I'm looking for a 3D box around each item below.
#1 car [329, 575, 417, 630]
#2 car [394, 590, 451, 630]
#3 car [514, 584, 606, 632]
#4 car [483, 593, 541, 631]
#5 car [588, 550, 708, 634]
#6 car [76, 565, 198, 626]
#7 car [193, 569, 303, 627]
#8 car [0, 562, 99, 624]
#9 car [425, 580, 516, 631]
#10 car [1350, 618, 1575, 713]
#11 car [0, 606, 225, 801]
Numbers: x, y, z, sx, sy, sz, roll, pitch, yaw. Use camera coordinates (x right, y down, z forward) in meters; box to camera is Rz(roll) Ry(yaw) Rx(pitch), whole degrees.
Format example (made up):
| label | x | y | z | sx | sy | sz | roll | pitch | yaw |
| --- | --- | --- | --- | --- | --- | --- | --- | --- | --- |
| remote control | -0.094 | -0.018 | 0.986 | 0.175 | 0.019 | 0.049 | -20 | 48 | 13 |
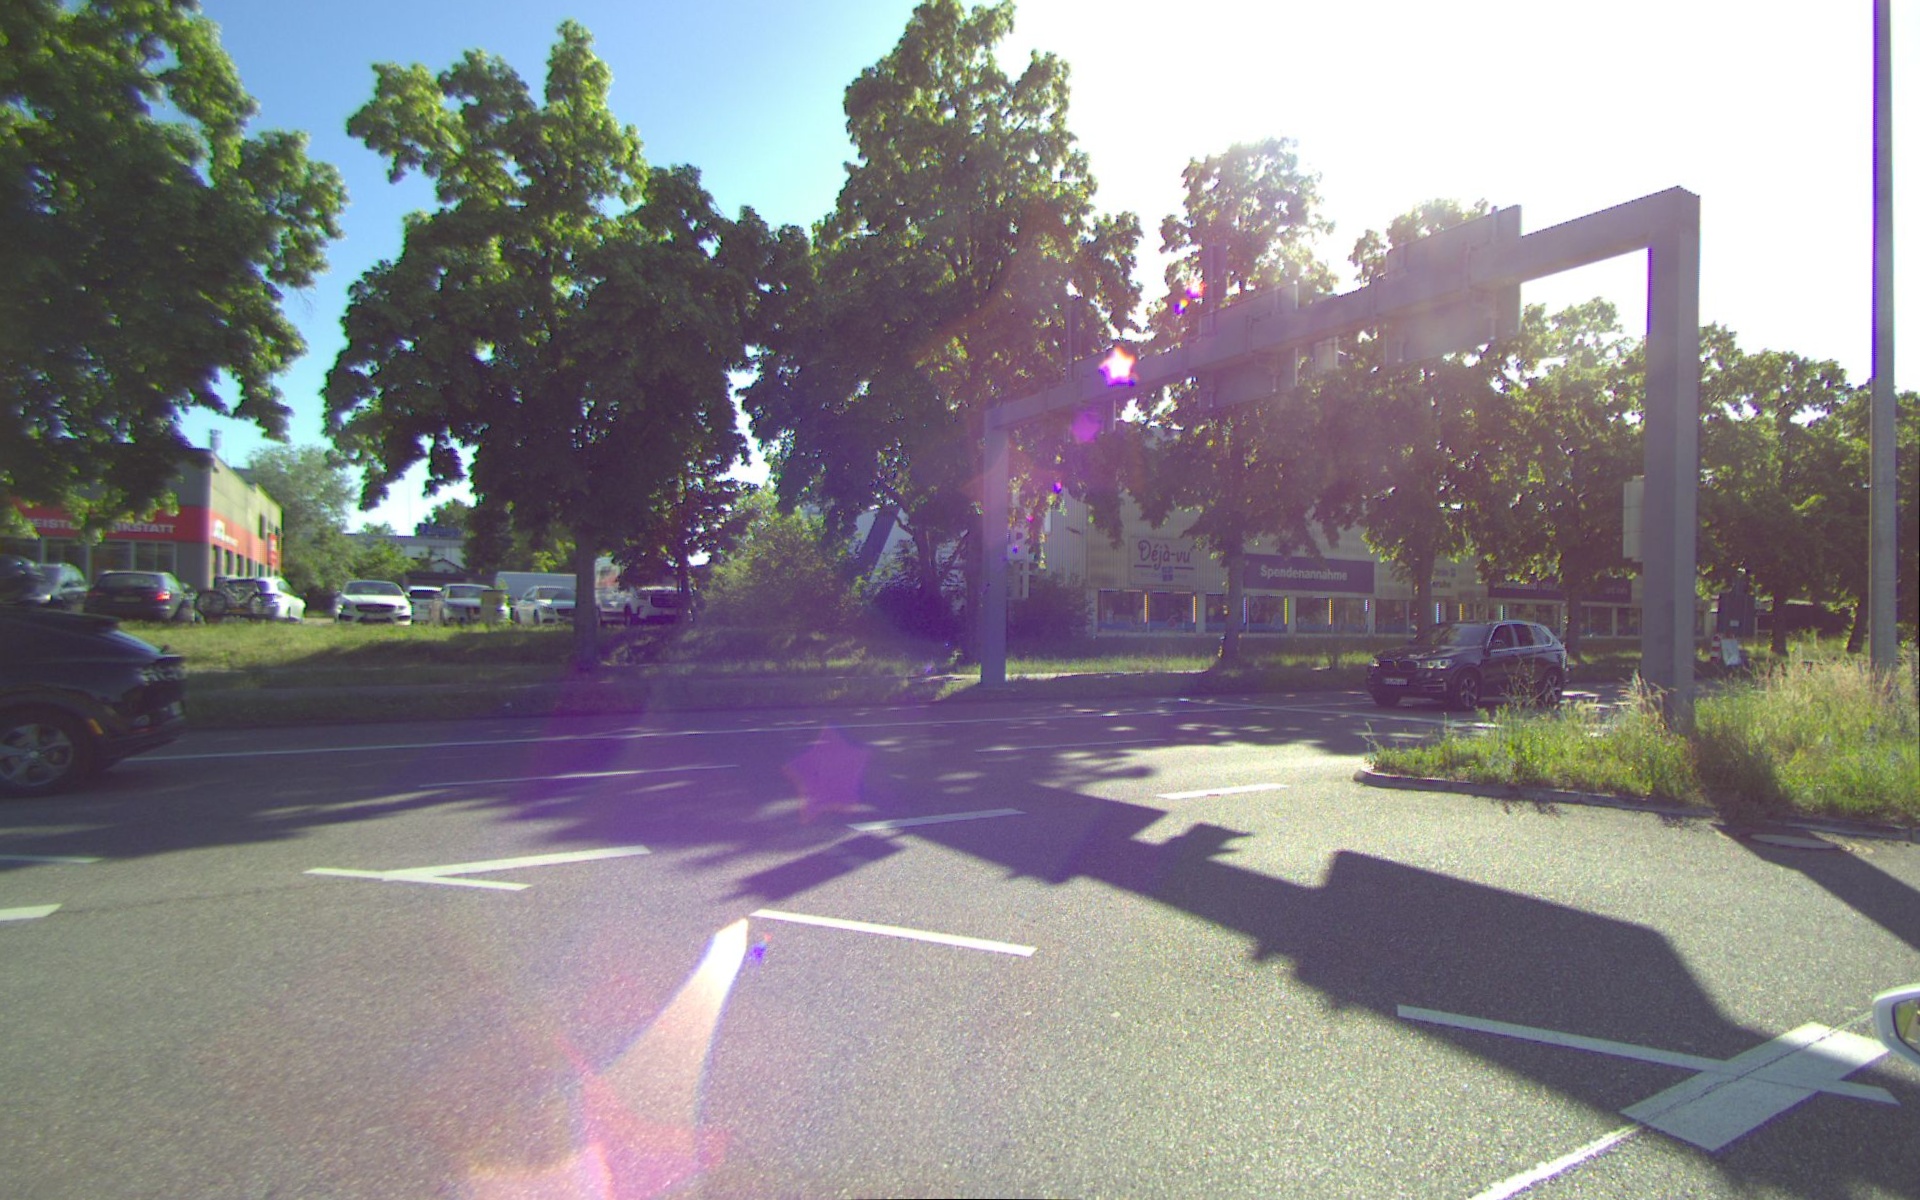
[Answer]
| label | x | y | z | sx | sy | sz | roll | pitch | yaw |
| --- | --- | --- | --- | --- | --- | --- | --- | --- | --- |
| car | -16.695 | 0.103 | 28.485 | 1.926 | 1.407 | 4.093 | 1 | -1 | -33 |
| car | -20.907 | 0.399 | 39.144 | 1.872 | 1.474 | 4.102 | 1 | -1 | -28 |
| car | -12.697 | 0.264 | 31.769 | 1.926 | 1.407 | 4.093 | 1 | -1 | -33 |
| car | -18.266 | 0.507 | 40.871 | 1.872 | 1.474 | 4.102 | 1 | -1 | -28 |
| car | -10.282 | -0.193 | 32.731 | 2.184 | 2.465 | 5.842 | 1 | -1 | -33 |
| car | -20.770 | -0.067 | 25.514 | 1.926 | 1.407 | 4.094 | 1 | -1 | -33 |
| car | -19.056 | -0.003 | 27.071 | 1.923 | 1.407 | 4.598 | 1 | -1 | -30 |
| car | -22.946 | -0.149 | 24.748 | 1.924 | 1.407 | 4.097 | 1 | -1 | -31 |
| car | -14.787 | 0.181 | 30.228 | 1.926 | 1.407 | 4.093 | 1 | -1 | -33 |
| car | 10.180 | 1.254 | 20.271 | 4.576 | 1.719 | 1.933 | 1 | -2 | -31 |
| car | -9.049 | 0.840 | 8.355 | 4.519 | 1.563 | 1.867 | 2 | -3 | -31 |
